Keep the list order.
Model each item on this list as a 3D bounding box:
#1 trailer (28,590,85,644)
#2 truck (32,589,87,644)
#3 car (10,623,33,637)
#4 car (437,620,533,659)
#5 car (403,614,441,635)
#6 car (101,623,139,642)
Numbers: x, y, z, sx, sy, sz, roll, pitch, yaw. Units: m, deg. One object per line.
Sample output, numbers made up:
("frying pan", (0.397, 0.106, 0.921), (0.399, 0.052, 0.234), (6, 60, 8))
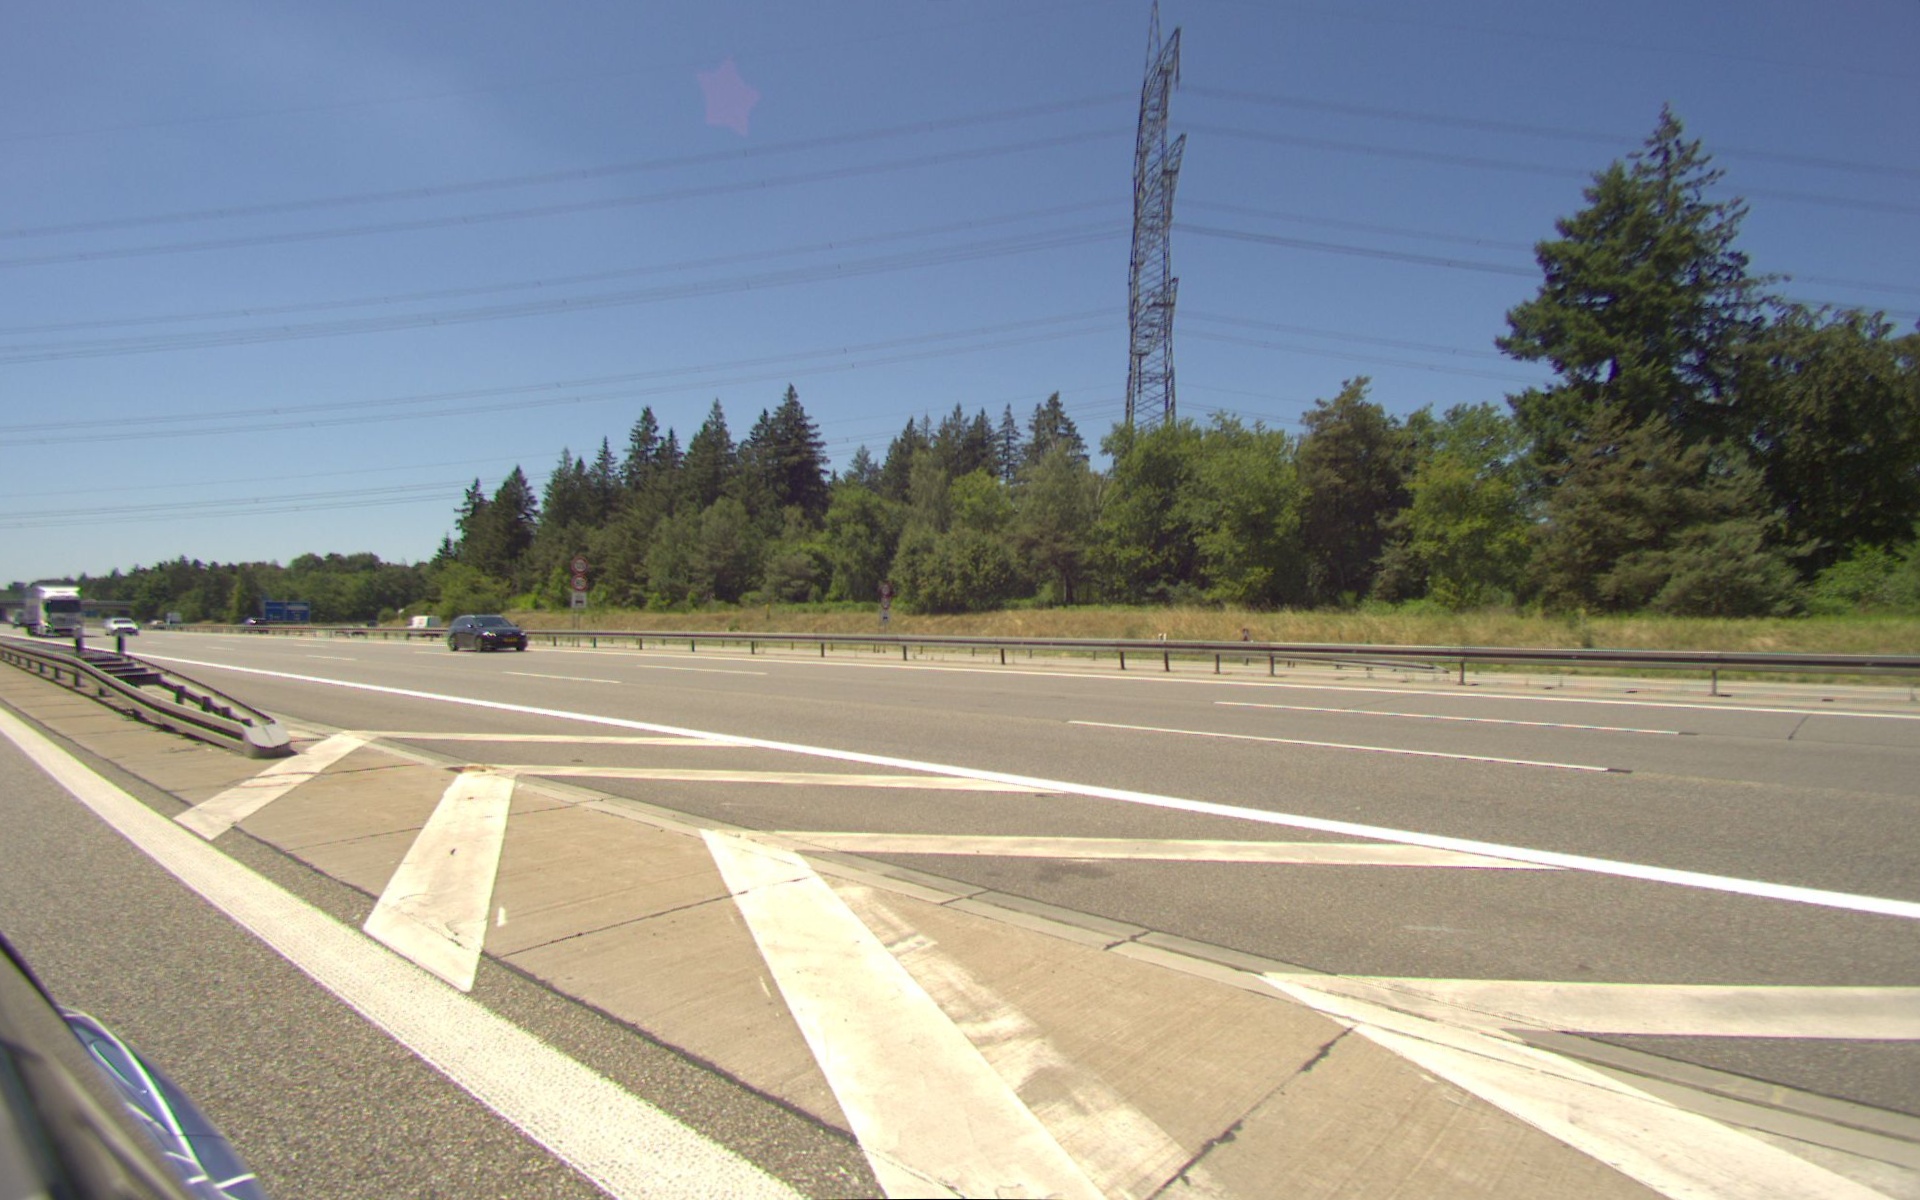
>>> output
("trailer", (-74.898, 1.478, 83.786), (2.940, 4.174, 11.703), (1, -2, -44))
("truck", (-71.173, 1.355, 79.928), (2.938, 4.174, 5.352), (1, -2, -44))
("car", (-148.157, 4.714, 159.746), (5.406, 2.048, 2.284), (-1, -1, 44))
("car", (-19.080, 1.546, 40.550), (5.000, 1.442, 1.812), (-2, -1, 44))
("car", (-66.564, 3.076, 125.184), (6.457, 2.534, 2.279), (-2, -2, 43))
("car", (-71.954, 2.735, 86.700), (5.406, 1.515, 1.942), (-1, -1, 44))
